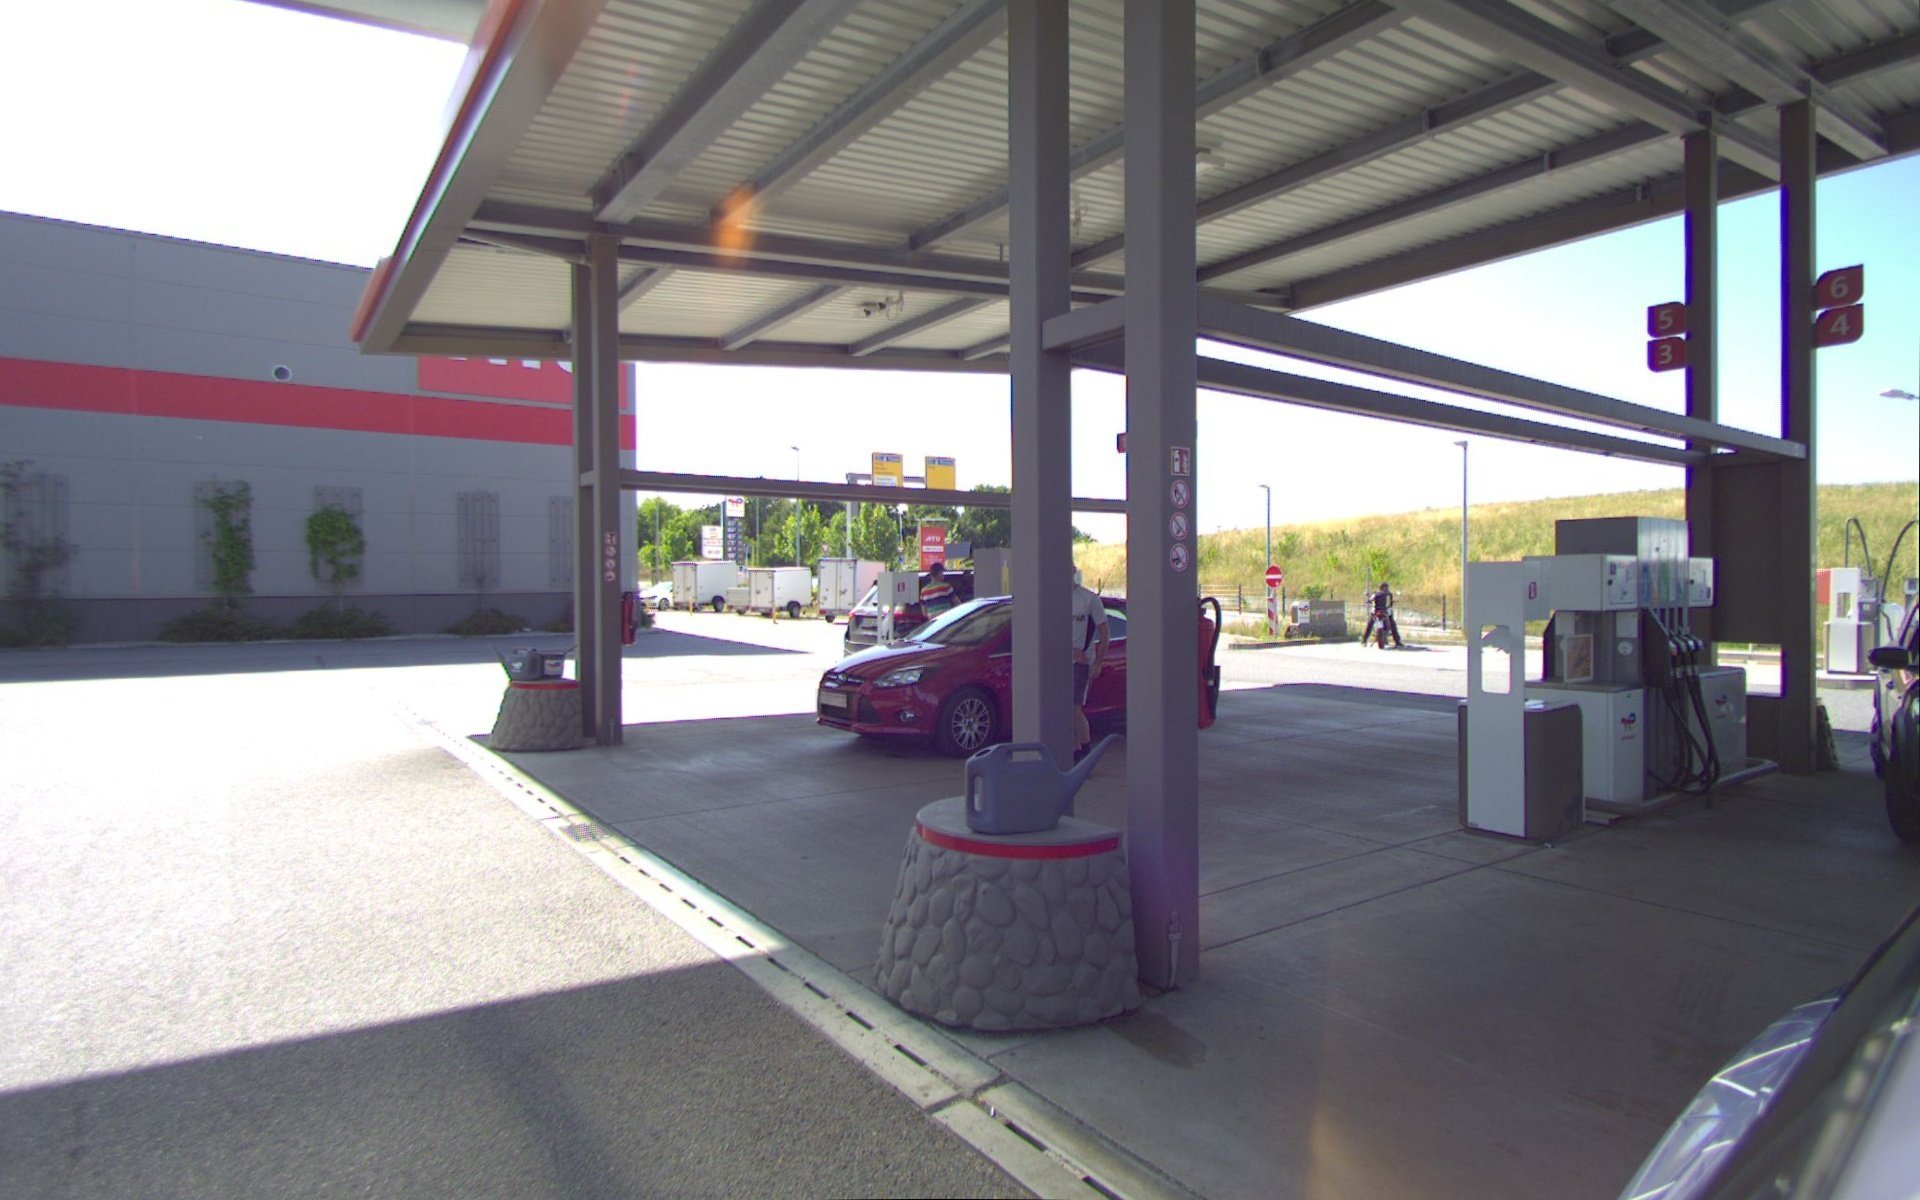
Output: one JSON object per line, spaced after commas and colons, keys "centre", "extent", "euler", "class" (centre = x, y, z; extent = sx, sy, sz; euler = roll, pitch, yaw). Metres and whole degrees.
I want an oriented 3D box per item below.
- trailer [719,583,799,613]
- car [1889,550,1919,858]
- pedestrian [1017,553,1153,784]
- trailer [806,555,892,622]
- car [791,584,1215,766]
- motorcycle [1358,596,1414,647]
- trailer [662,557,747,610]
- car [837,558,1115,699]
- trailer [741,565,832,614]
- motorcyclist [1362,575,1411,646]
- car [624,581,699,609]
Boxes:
{"centre": [-8.984, -0.107, 45.490], "extent": [1.565, 1.297, 3.681], "euler": [1, 1, 29], "class": "trailer"}
{"centre": [7.313, 0.557, 6.618], "extent": [1.737, 1.665, 4.562], "euler": [1, 1, 42], "class": "car"}
{"centre": [1.016, 0.503, 8.143], "extent": [0.700, 1.724, 0.914], "euler": [0, 0, 40], "class": "pedestrian"}
{"centre": [-4.231, -0.466, 39.151], "extent": [1.972, 2.457, 3.980], "euler": [1, 1, 16], "class": "trailer"}
{"centre": [0.547, 0.595, 10.225], "extent": [4.154, 1.487, 1.704], "euler": [0, 1, -37], "class": "car"}
{"centre": [10.624, 0.509, 25.167], "extent": [1.036, 1.119, 2.392], "euler": [1, 2, 29], "class": "motorcycle"}
{"centre": [-12.542, -0.822, 49.844], "extent": [1.980, 2.457, 3.964], "euler": [1, 1, 26], "class": "trailer"}
{"centre": [0.426, 0.364, 15.910], "extent": [2.022, 1.874, 4.735], "euler": [1, 0, 36], "class": "car"}
{"centre": [-7.418, -0.461, 43.533], "extent": [1.787, 2.039, 3.959], "euler": [1, 1, 29], "class": "trailer"}
{"centre": [10.582, 0.229, 25.093], "extent": [1.026, 1.709, 1.088], "euler": [1, 1, 29], "class": "motorcyclist"}
{"centre": [-14.863, -0.269, 50.565], "extent": [1.661, 1.334, 3.810], "euler": [1, 1, 20], "class": "car"}
